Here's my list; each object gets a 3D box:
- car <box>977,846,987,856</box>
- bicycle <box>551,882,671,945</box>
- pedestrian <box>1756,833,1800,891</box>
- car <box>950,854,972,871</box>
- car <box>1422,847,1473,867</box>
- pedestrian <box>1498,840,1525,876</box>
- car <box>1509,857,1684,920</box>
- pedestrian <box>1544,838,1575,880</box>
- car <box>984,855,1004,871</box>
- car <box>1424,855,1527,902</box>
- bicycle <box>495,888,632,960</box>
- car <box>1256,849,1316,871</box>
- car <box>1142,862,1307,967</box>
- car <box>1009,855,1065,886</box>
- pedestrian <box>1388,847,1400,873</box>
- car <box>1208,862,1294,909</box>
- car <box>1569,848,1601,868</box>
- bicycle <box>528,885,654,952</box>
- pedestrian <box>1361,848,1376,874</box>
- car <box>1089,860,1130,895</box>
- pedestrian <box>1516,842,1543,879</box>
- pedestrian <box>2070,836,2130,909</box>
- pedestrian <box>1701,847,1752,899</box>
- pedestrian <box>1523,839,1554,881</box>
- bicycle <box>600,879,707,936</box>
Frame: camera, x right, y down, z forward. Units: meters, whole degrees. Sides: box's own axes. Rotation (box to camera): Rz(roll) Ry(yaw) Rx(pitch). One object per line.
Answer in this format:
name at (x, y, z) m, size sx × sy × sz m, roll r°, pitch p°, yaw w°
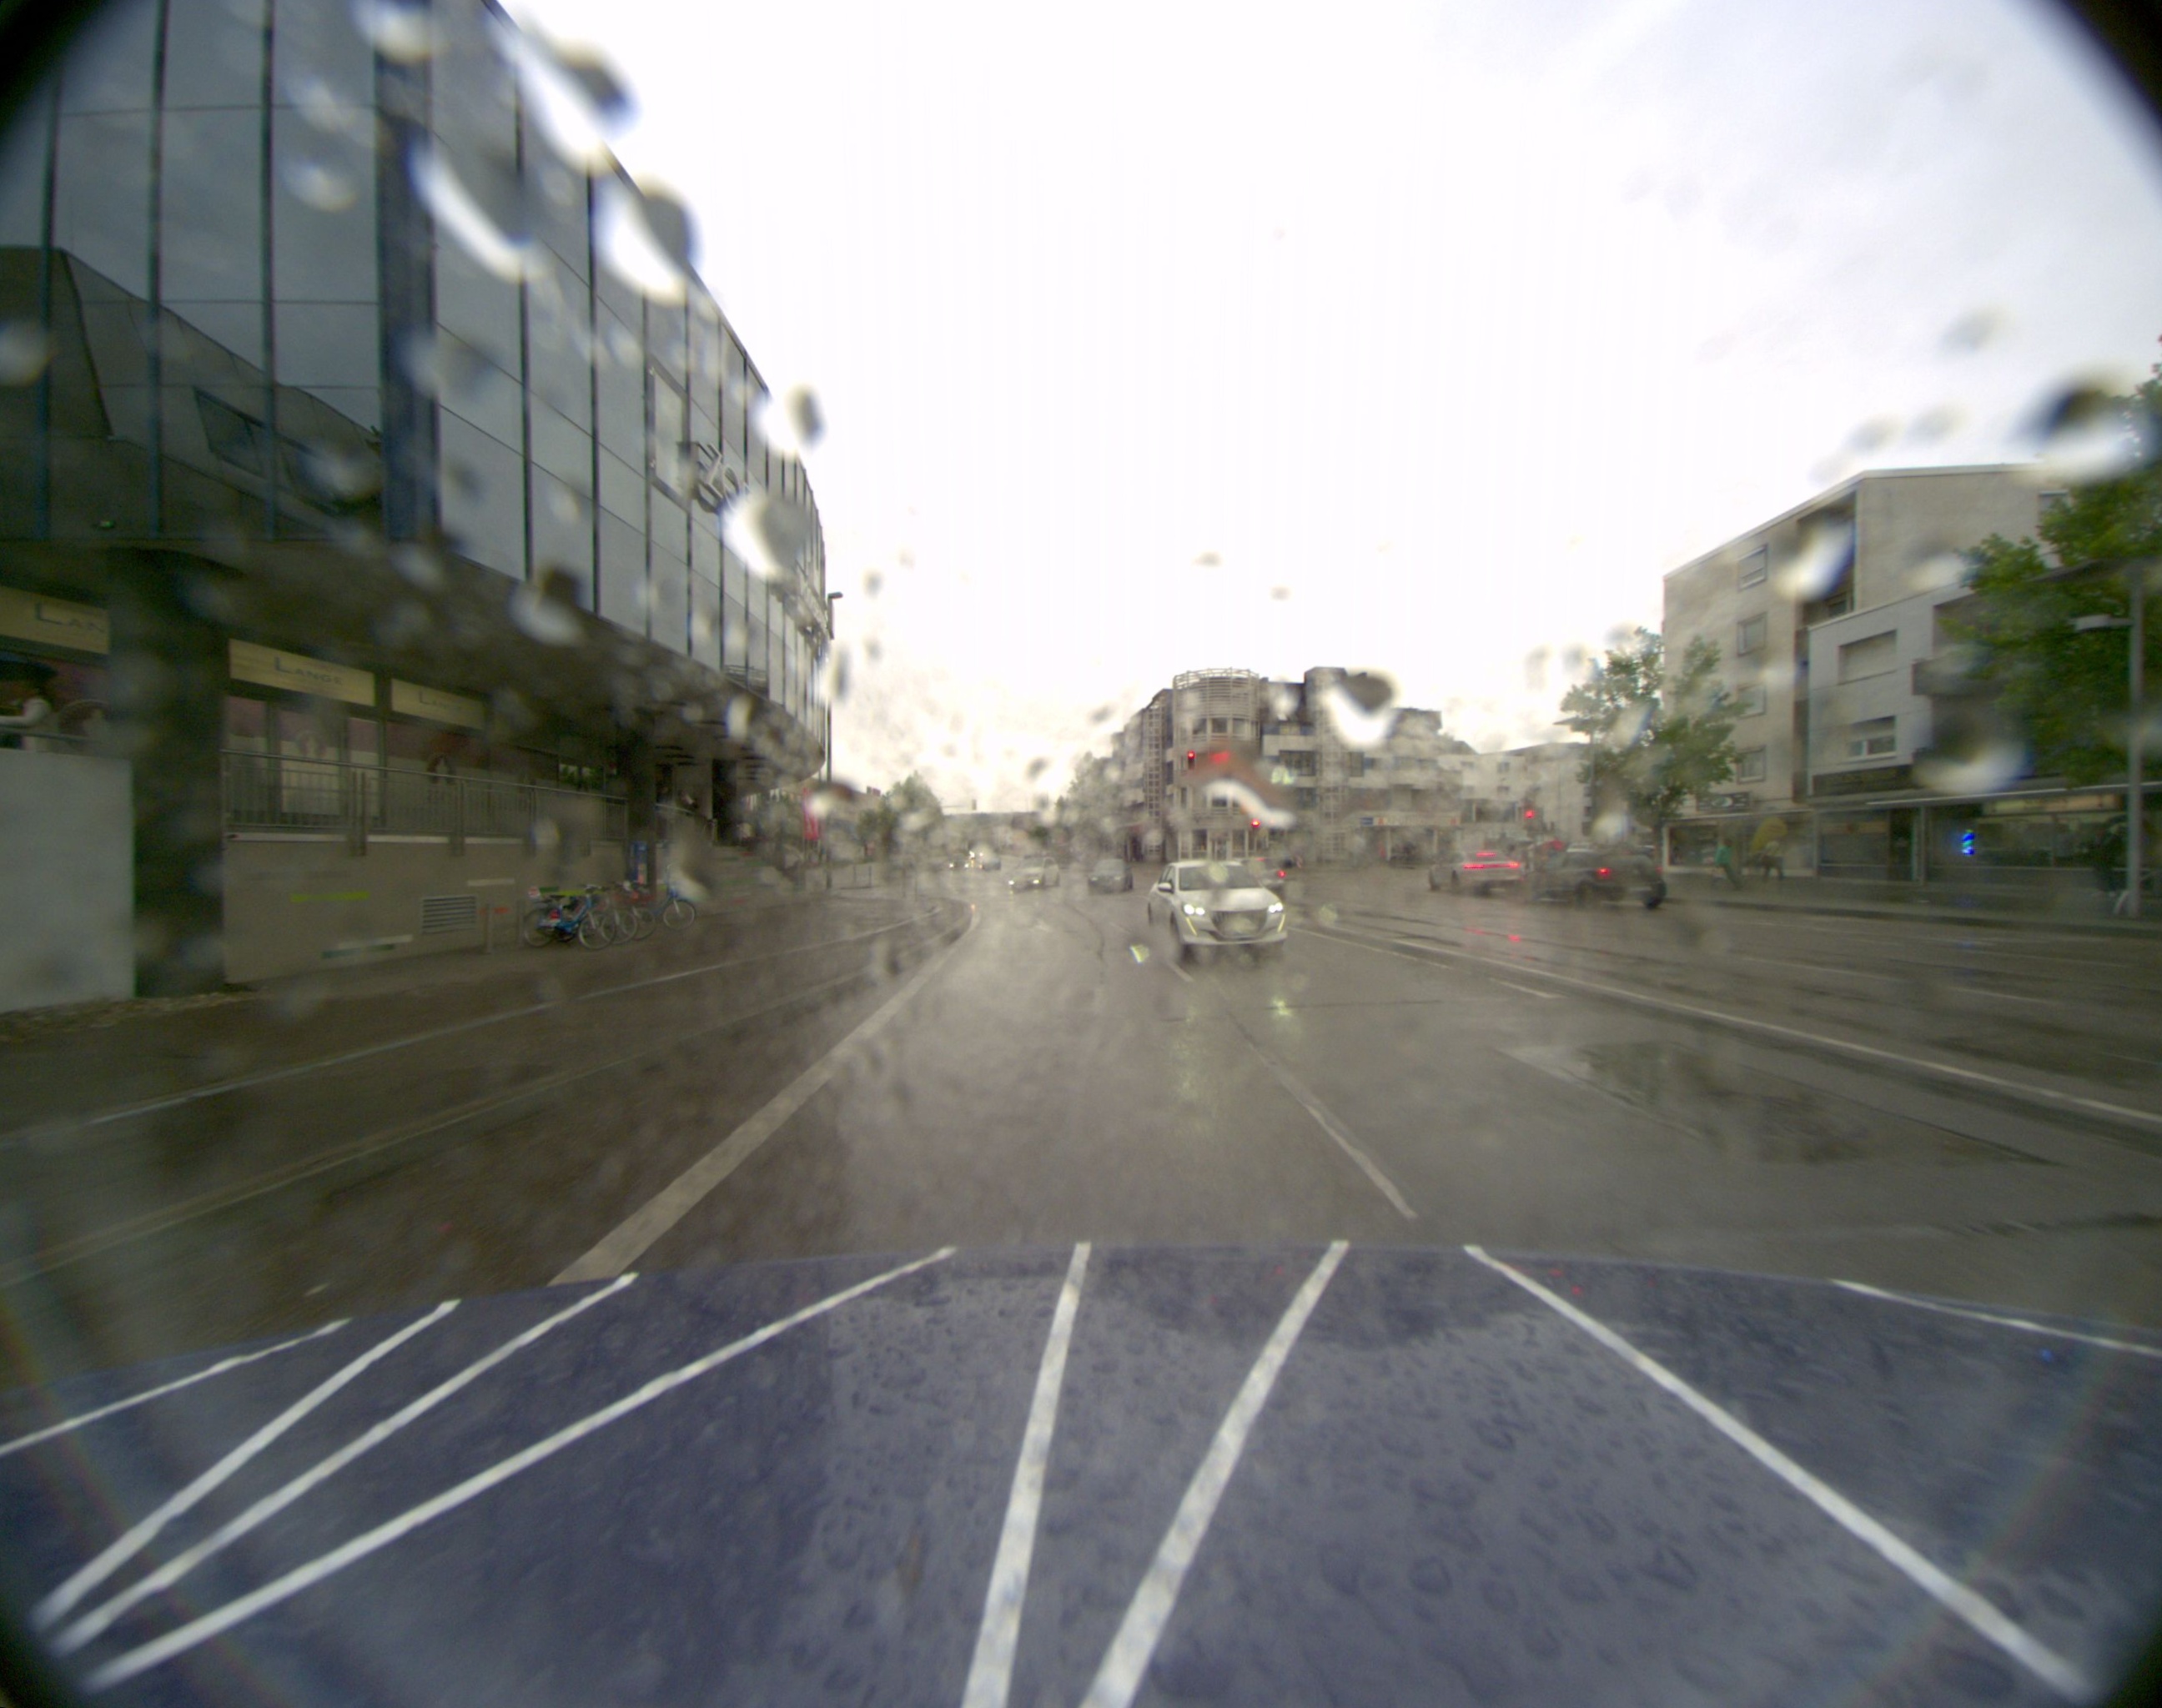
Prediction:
car at (-16.082, -0.479, 123.435) m, size 1.584 × 1.630 × 3.638 m, roll -1°, pitch 0°, yaw -6°
bicycle at (-8.804, 1.102, 14.262) m, size 1.814 × 1.104 × 0.694 m, roll 1°, pitch 0°, yaw 2°
pedestrian at (24.617, 0.276, 26.866) m, size 0.760 × 2.002 × 0.864 m, roll -1°, pitch 0°, yaw 2°
car at (-11.675, 0.817, 74.147) m, size 1.901 × 1.517 × 3.997 m, roll -1°, pitch 0°, yaw -6°
car at (32.665, 0.300, 67.805) m, size 3.897 × 1.710 × 1.745 m, roll -1°, pitch 0°, yaw -14°
pedestrian at (22.986, 0.216, 40.606) m, size 0.905 × 1.904 × 0.978 m, roll -1°, pitch 0°, yaw 3°
car at (12.809, 0.805, 19.213) m, size 1.762 × 1.418 × 4.001 m, roll -1°, pitch -1°, yaw 1°
pedestrian at (23.208, 0.256, 36.887) m, size 0.905 × 2.002 × 0.978 m, roll -1°, pitch 0°, yaw 3°
car at (-8.430, 0.849, 73.810) m, size 1.901 × 1.517 × 3.997 m, roll -1°, pitch 0°, yaw -6°
car at (13.433, 0.786, 26.226) m, size 1.760 × 1.418 × 4.891 m, roll -1°, pitch 0°, yaw 10°
bicycle at (-8.616, 1.159, 12.704) m, size 1.814 × 1.104 × 0.694 m, roll 1°, pitch 0°, yaw 2°
car at (14.386, 0.404, 53.382) m, size 3.843 × 1.481 × 1.631 m, roll -1°, pitch 0°, yaw -19°
car at (2.262, 0.905, 13.056) m, size 1.877 × 1.453 × 3.871 m, roll -1°, pitch 0°, yaw -4°
car at (-2.320, 0.869, 41.234) m, size 1.760 × 1.540 × 4.331 m, roll -1°, pitch 1°, yaw 15°
pedestrian at (21.245, 0.412, 51.538) m, size 0.682 × 1.733 × 0.586 m, roll -1°, pitch 1°, yaw 29°
car at (5.689, 1.013, 25.958) m, size 1.762 × 1.442 × 3.999 m, roll -1°, pitch -1°, yaw -4°
car at (51.839, 0.407, 78.093) m, size 1.994 × 2.002 × 4.607 m, roll 0°, pitch 0°, yaw 43°
bicycle at (-8.676, 1.130, 13.501) m, size 1.805 × 1.079 × 0.685 m, roll 1°, pitch 2°, yaw 2°
pedestrian at (19.569, 0.458, 51.769) m, size 0.838 × 1.733 × 0.585 m, roll -1°, pitch 1°, yaw 9°
car at (1.377, 1.048, 35.267) m, size 1.675 × 1.534 × 3.915 m, roll -1°, pitch -1°, yaw 5°
pedestrian at (23.934, 0.343, 40.554) m, size 0.905 × 1.904 × 0.978 m, roll -1°, pitch 0°, yaw 3°
pedestrian at (25.011, 0.451, 18.652) m, size 0.549 × 1.740 × 0.681 m, roll -1°, pitch 0°, yaw 6°
pedestrian at (20.612, 0.595, 24.272) m, size 1.009 × 1.636 × 0.727 m, roll -1°, pitch 1°, yaw 3°
pedestrian at (22.089, 0.279, 36.684) m, size 0.905 × 2.002 × 0.978 m, roll -1°, pitch 0°, yaw 3°
bicycle at (-8.866, 1.101, 15.782) m, size 1.834 × 1.104 × 0.694 m, roll 1°, pitch 1°, yaw 2°
